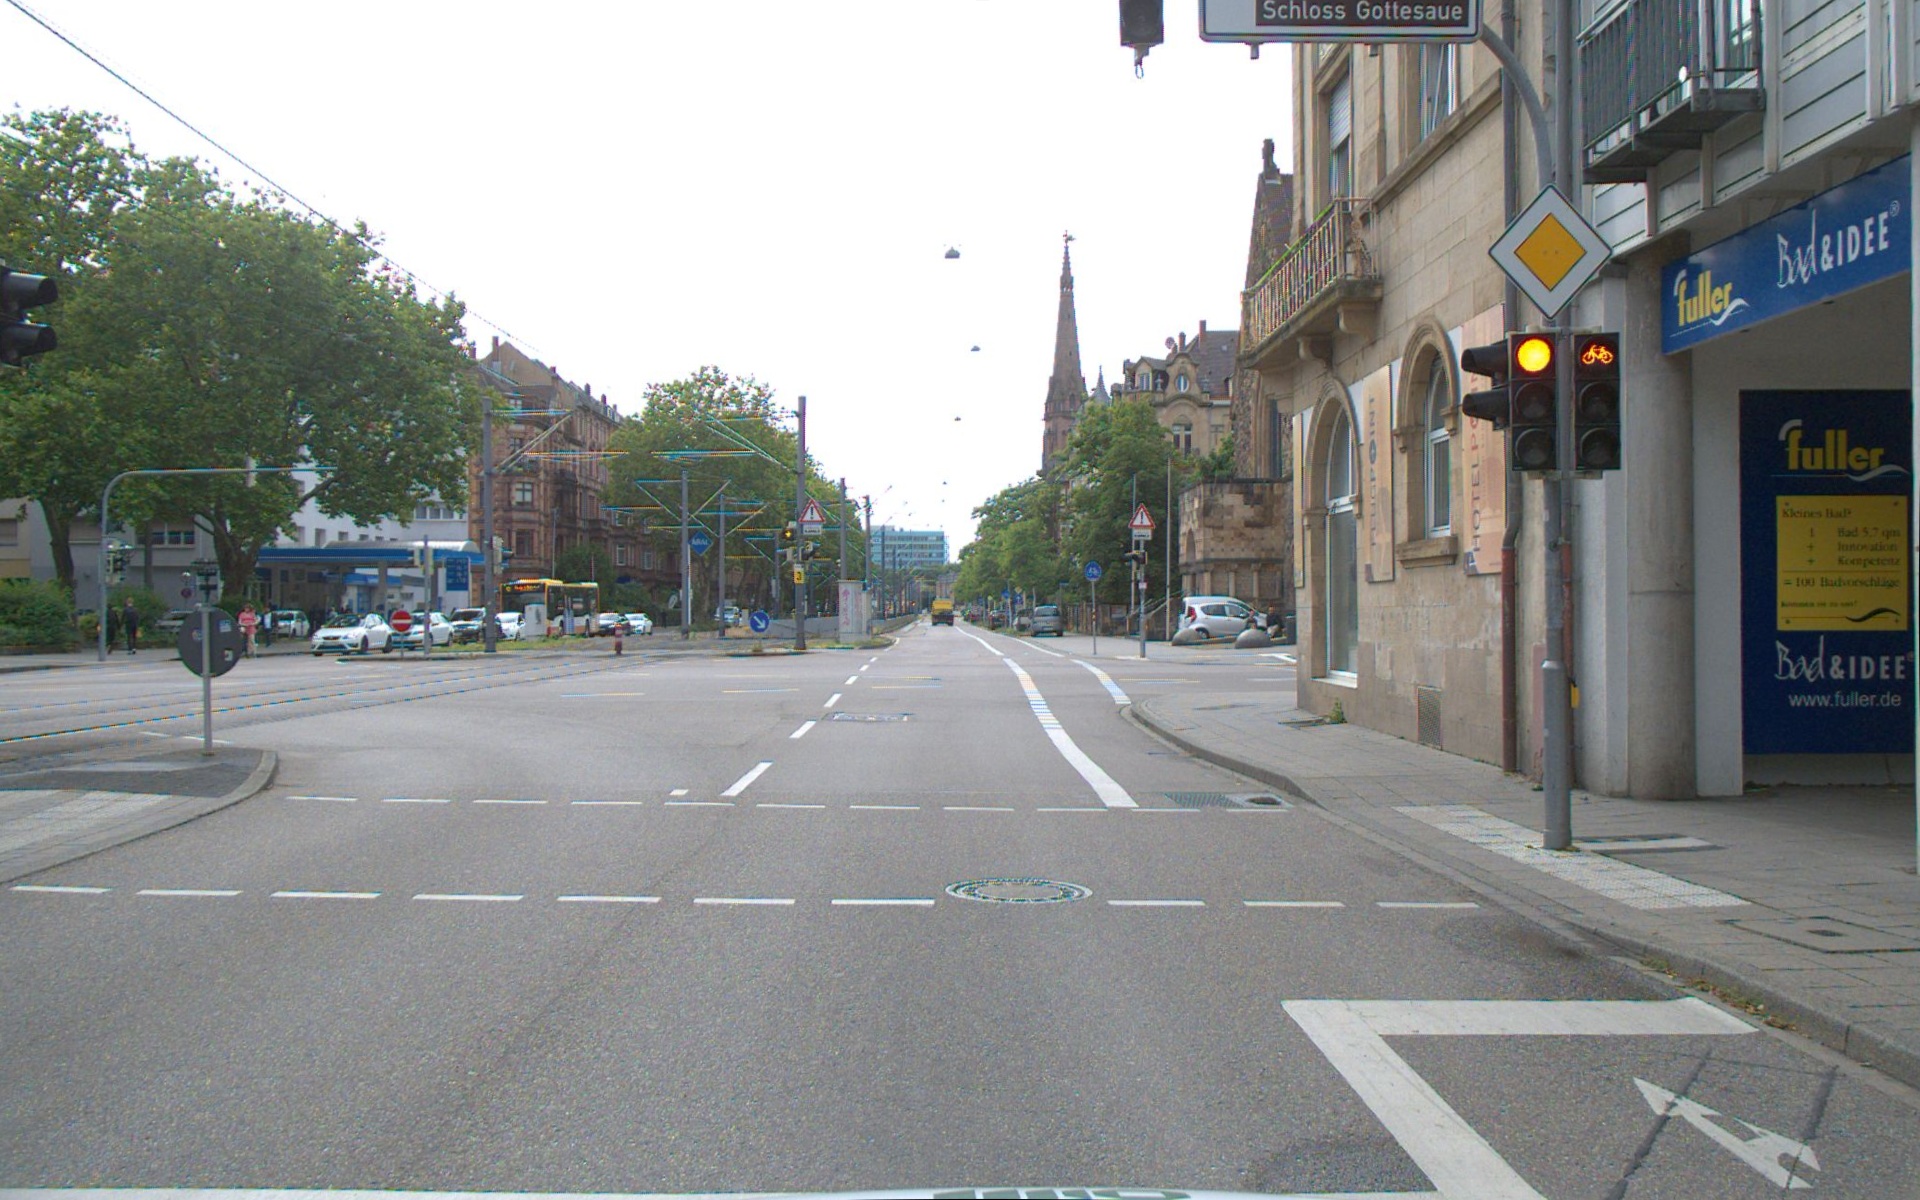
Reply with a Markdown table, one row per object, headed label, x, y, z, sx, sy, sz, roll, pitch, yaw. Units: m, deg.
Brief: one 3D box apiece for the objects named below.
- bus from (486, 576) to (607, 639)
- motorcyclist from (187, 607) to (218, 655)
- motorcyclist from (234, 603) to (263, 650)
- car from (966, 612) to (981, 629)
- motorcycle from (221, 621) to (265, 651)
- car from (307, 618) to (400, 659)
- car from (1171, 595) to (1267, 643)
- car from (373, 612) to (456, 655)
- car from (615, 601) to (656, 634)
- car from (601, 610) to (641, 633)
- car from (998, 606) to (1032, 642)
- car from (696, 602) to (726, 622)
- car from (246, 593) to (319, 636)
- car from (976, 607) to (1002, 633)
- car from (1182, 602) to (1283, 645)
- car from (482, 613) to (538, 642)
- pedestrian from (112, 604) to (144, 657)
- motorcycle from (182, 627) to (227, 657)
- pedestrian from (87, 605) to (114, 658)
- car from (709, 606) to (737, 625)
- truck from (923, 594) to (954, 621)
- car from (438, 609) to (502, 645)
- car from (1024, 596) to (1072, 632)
| label | x | y | z | sx | sy | sz | roll | pitch | yaw |
| --- | --- | --- | --- | --- | --- | --- | --- | --- | --- |
| bus | -21.966 | 0.423 | 88.756 | 3.164 | 3.088 | 12.312 | 1 | 0 | 1 |
| motorcyclist | -24.677 | 0.997 | 53.909 | 0.607 | 1.546 | 0.873 | 0 | 0 | -1 |
| motorcyclist | -23.659 | 0.861 | 55.009 | 0.607 | 1.546 | 0.873 | 0 | 0 | -1 |
| car | 1.769 | 2.673 | 216.825 | 1.953 | 2.049 | 3.999 | 1 | 0 | -1 |
| motorcycle | -23.690 | 1.171 | 54.674 | 0.594 | 0.945 | 1.951 | 0 | 0 | 0 |
| car | -21.436 | 1.335 | 58.606 | 1.711 | 1.344 | 4.075 | 1 | 0 | 1 |
| car | 10.691 | 0.795 | 68.558 | 3.638 | 1.888 | 2.000 | 1 | 0 | -1 |
| car | -21.423 | 1.291 | 65.130 | 1.953 | 1.622 | 3.999 | 1 | 0 | -1 |
| car | -21.410 | 1.140 | 109.261 | 1.953 | 2.049 | 3.999 | 1 | 0 | -1 |
| car | -20.842 | 1.312 | 101.878 | 1.622 | 1.344 | 3.638 | 1 | 0 | 1 |
| car | 3.286 | 1.423 | 99.495 | 1.952 | 2.049 | 4.000 | 1 | 0 | 1 |
| car | -21.221 | 1.033 | 141.184 | 1.953 | 1.639 | 3.999 | 1 | 0 | -1 |
| car | -32.899 | 0.693 | 80.386 | 1.953 | 2.049 | 3.999 | 0 | 0 | -1 |
| car | 2.378 | 1.633 | 136.003 | 1.953 | 2.049 | 3.999 | 1 | 0 | -1 |
| car | 10.675 | 0.925 | 65.033 | 3.638 | 1.591 | 2.000 | 1 | 0 | -1 |
| car | -21.379 | 1.289 | 78.702 | 1.622 | 1.344 | 3.638 | 1 | 0 | 1 |
| pedestrian | -27.764 | 0.999 | 55.198 | 0.860 | 1.743 | 0.869 | 0 | 0 | -20 |
| motorcycle | -24.679 | 1.373 | 54.080 | 0.594 | 0.945 | 1.951 | 0 | 0 | 0 |
| pedestrian | -28.485 | 1.034 | 54.837 | 0.678 | 1.743 | 0.865 | 0 | 0 | -20 |
| car | -21.337 | 1.391 | 148.993 | 1.953 | 1.639 | 3.999 | 1 | 0 | -1 |
| truck | -2.265 | 0.843 | 178.055 | 2.992 | 2.817 | 9.816 | 0 | 0 | 1 |
| car | -21.223 | 1.144 | 71.783 | 1.622 | 1.504 | 3.638 | 1 | 0 | 1 |
| car | 4.816 | 0.773 | 90.049 | 1.951 | 1.888 | 4.030 | 1 | 0 | 12 |
